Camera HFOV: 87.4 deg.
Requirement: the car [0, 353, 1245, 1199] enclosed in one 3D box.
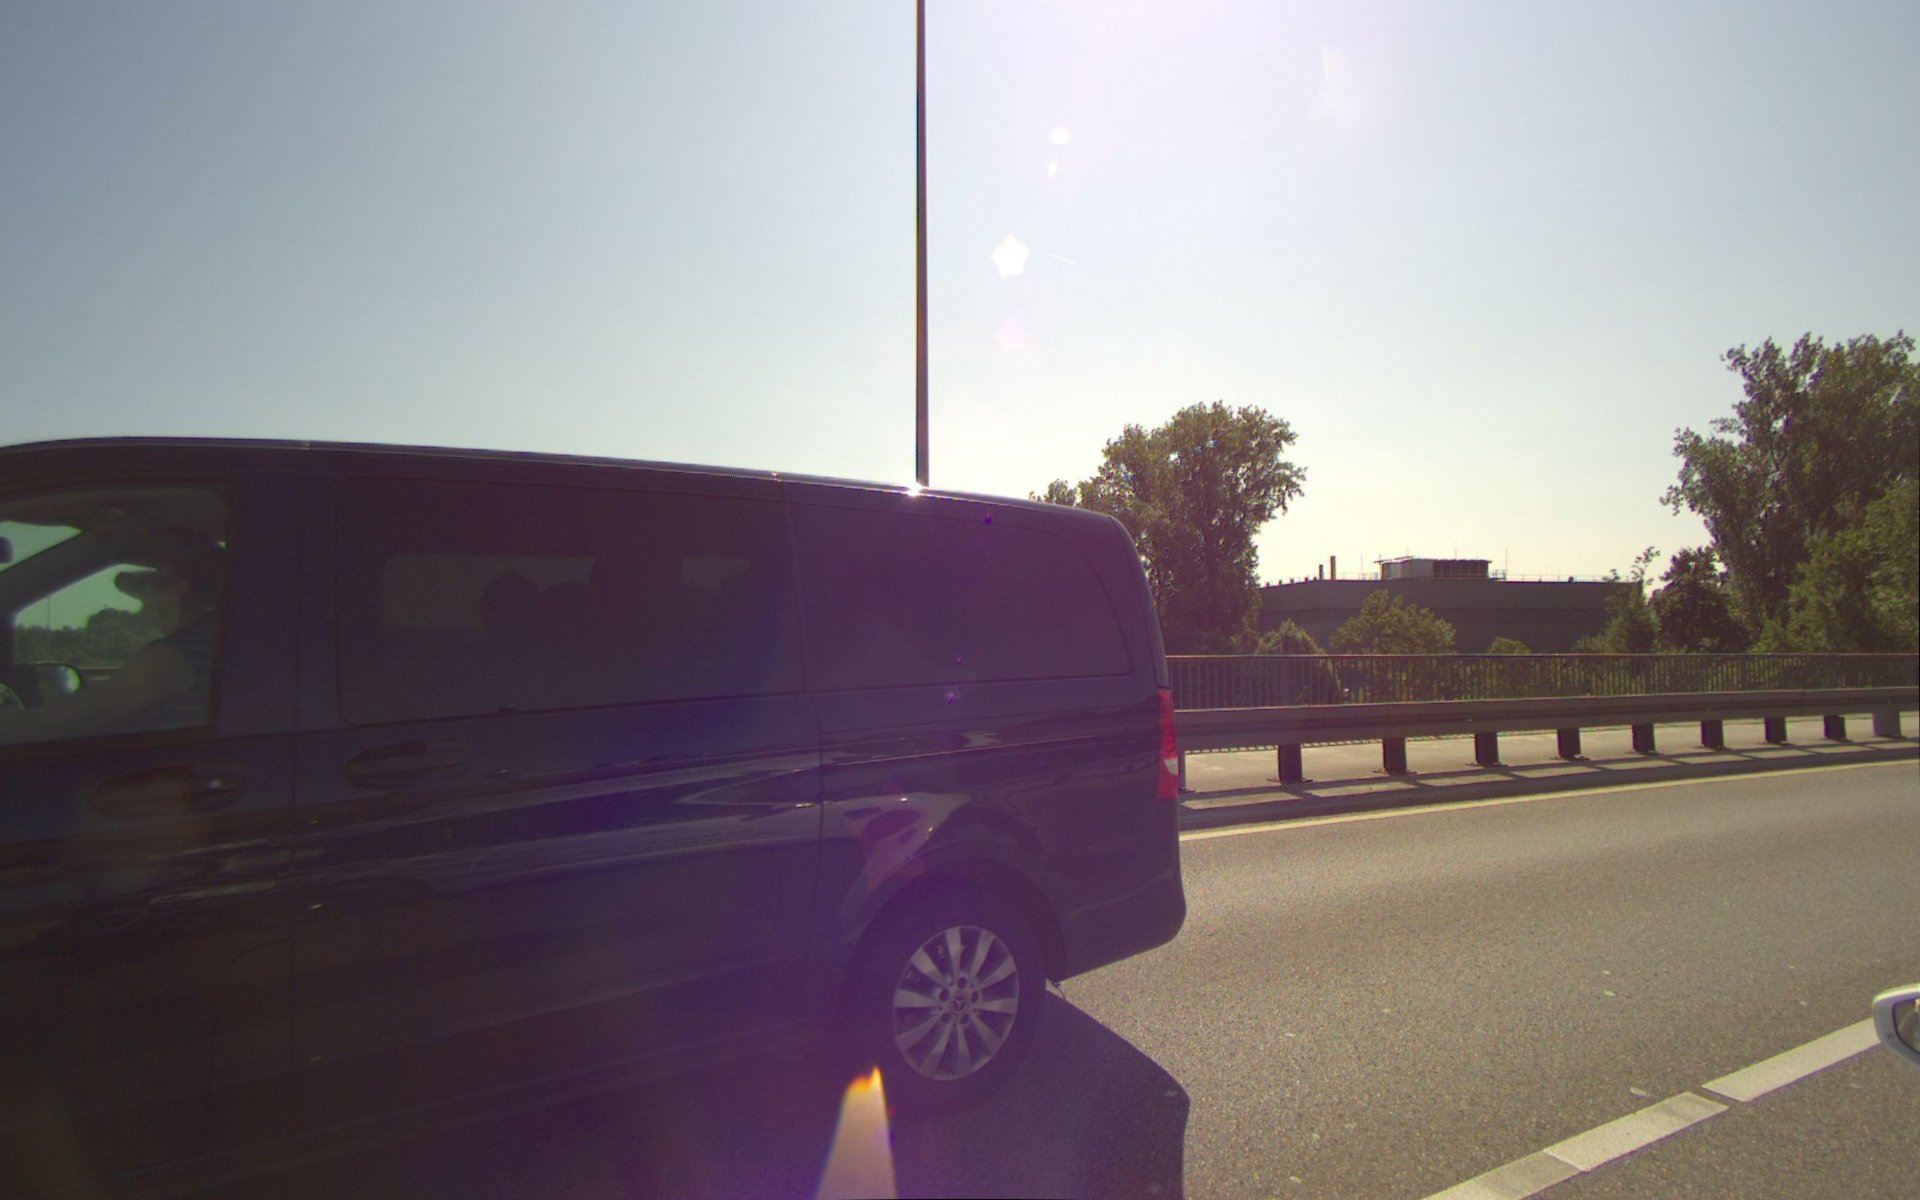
[{"bbox_3d":[-2.030,0.510,2.907,5.846,1.913,2.065,1,-1,-31],"label":"car"}]
